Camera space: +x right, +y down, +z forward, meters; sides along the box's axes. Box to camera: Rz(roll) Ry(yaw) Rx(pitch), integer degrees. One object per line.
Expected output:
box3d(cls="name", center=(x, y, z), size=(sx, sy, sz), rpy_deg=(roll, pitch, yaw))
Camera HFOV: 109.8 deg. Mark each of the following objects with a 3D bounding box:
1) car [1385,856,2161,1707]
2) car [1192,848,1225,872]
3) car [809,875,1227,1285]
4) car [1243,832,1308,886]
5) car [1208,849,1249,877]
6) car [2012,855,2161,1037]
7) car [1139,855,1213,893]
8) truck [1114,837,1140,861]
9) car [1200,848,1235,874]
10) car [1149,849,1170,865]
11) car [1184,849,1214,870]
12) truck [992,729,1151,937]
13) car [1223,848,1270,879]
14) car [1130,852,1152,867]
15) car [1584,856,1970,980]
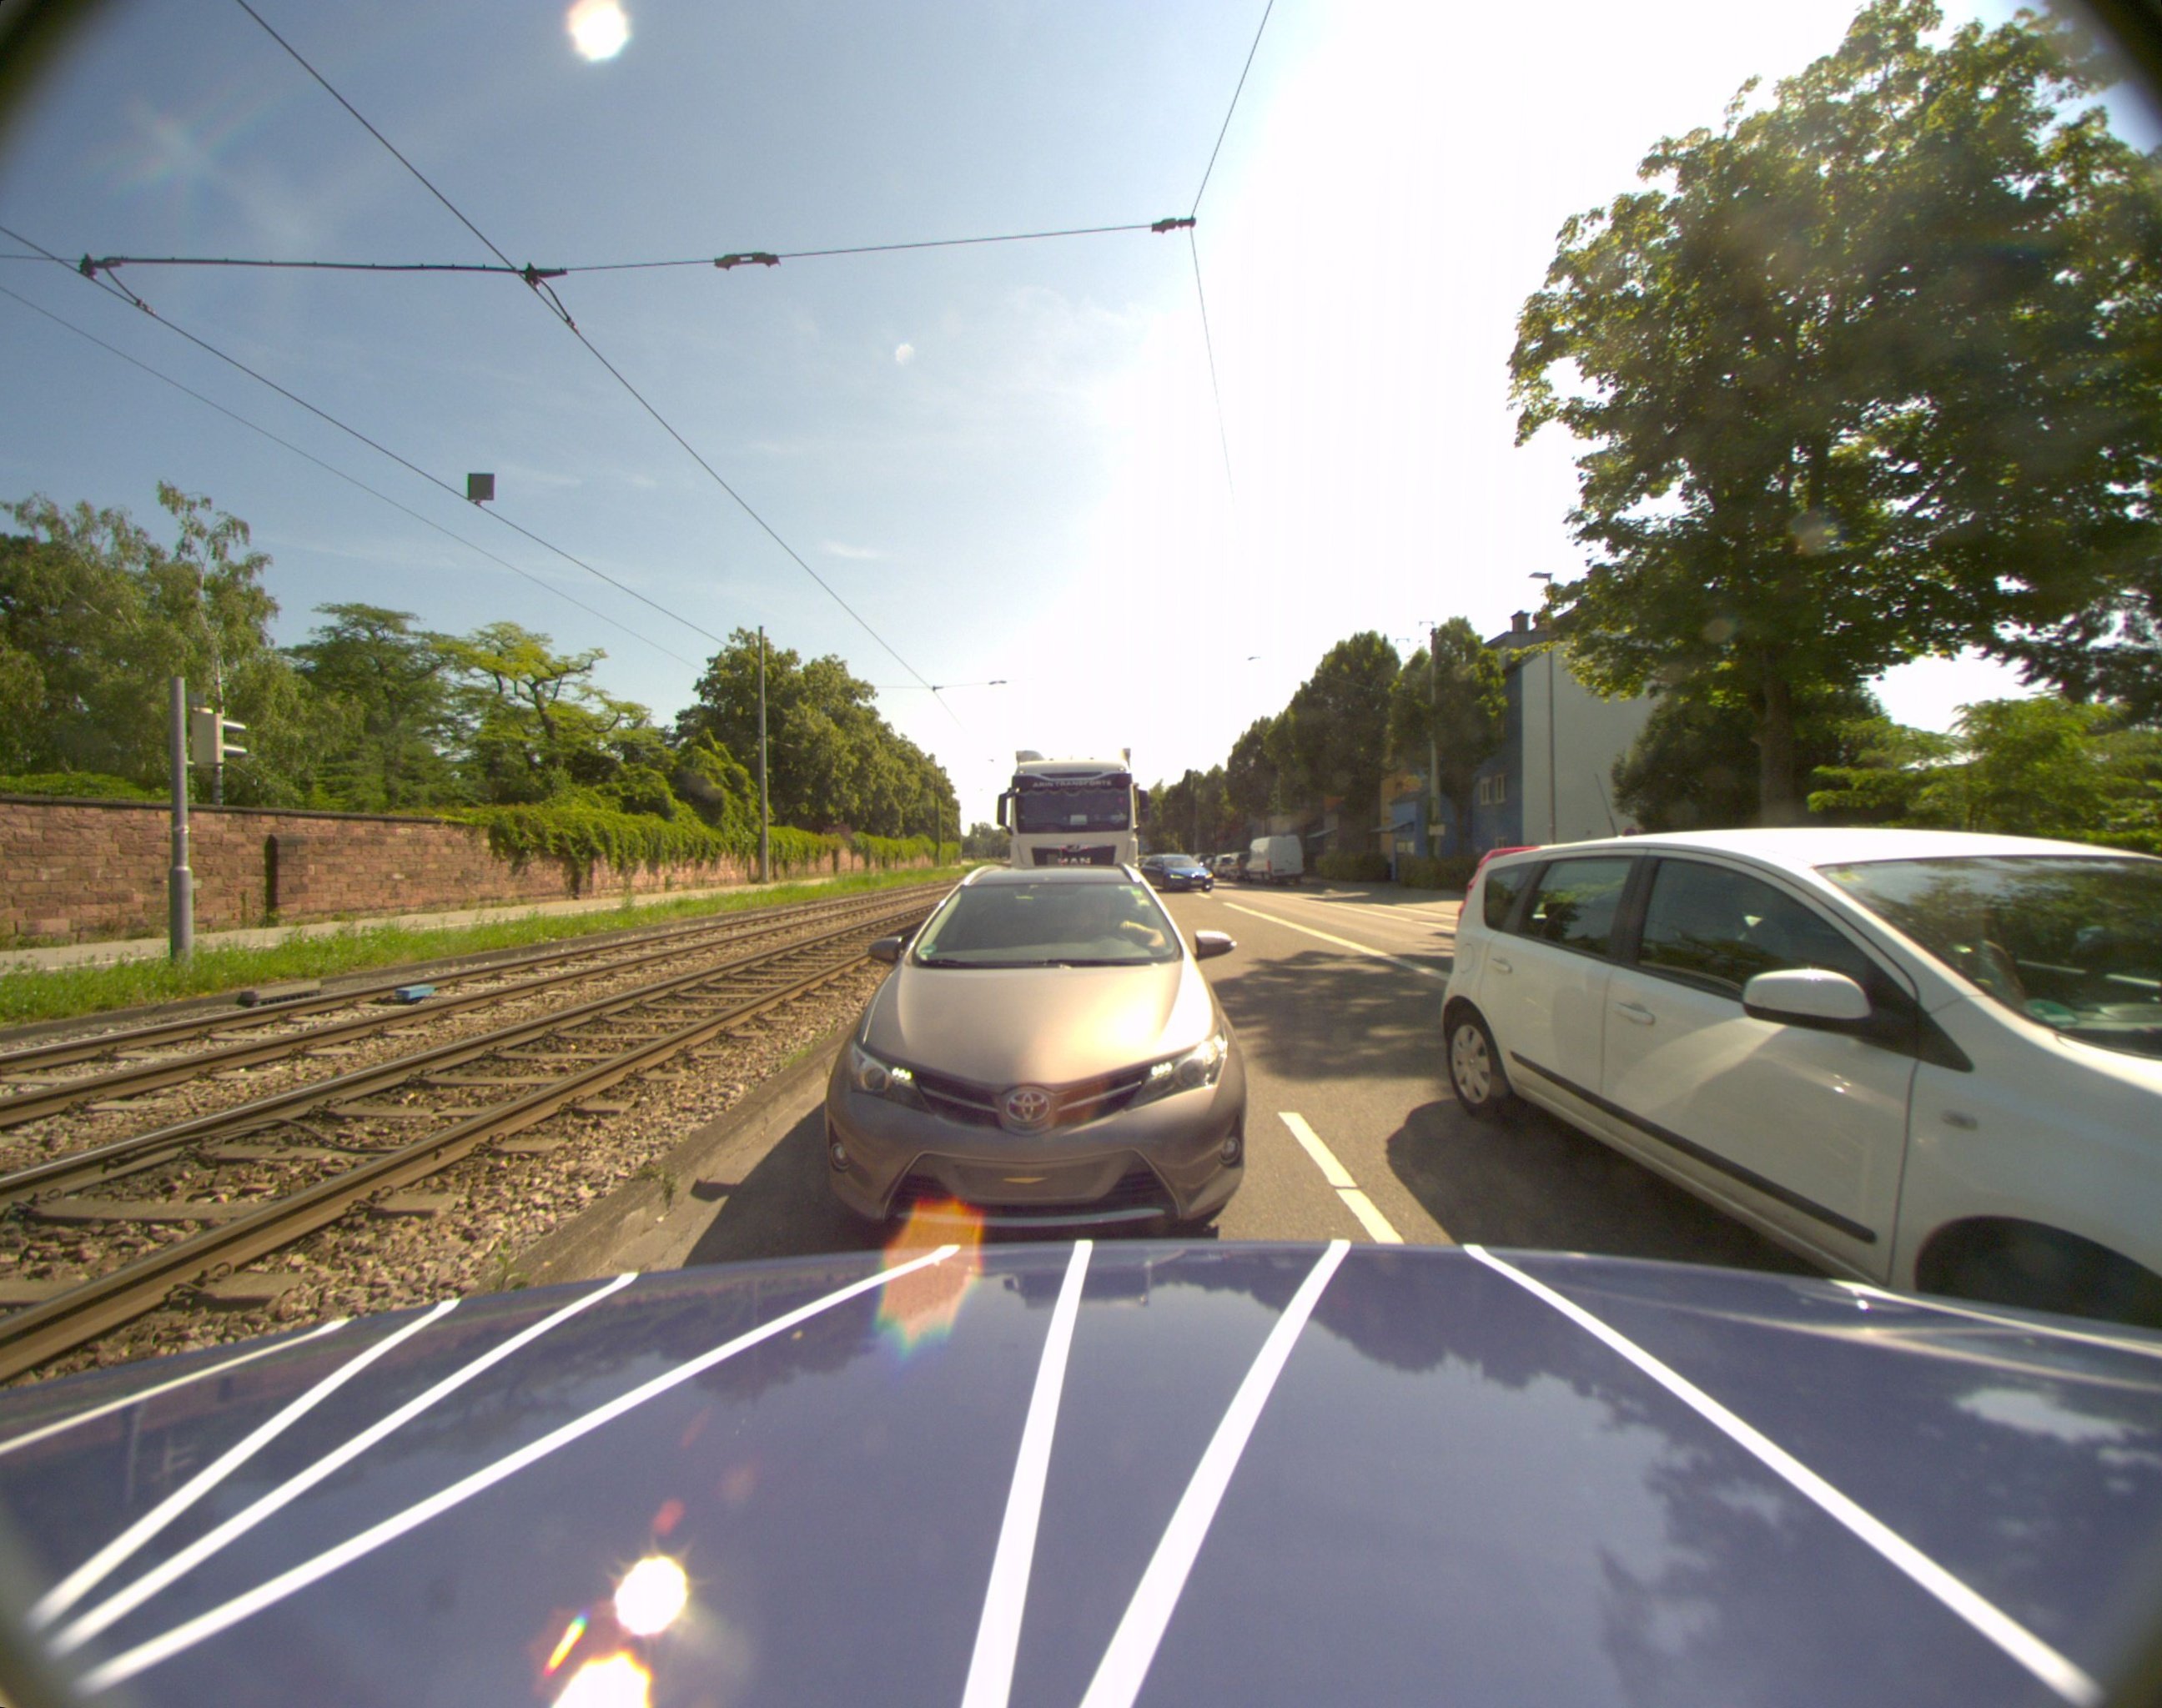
box3d(cls="car", center=(2.849, 0.805, 2.793), size=(1.666, 1.538, 4.546), rpy_deg=(-1, 0, 1))
box3d(cls="car", center=(11.294, 0.514, 67.670), size=(1.998, 1.795, 4.769), rpy_deg=(-6, 0, 0))
box3d(cls="car", center=(-0.212, 0.911, 4.869), size=(1.573, 1.422, 4.000), rpy_deg=(0, 0, 1))
box3d(cls="car", center=(10.912, 0.252, 43.146), size=(1.998, 2.678, 6.214), rpy_deg=(-6, 0, 2))
box3d(cls="car", center=(11.088, 0.629, 57.376), size=(1.998, 1.795, 4.769), rpy_deg=(-6, 0, 0))
box3d(cls="car", center=(10.586, 0.825, 5.566), size=(1.868, 1.562, 4.621), rpy_deg=(-2, 0, 0))
box3d(cls="car", center=(3.789, 0.749, 31.295), size=(1.890, 1.422, 5.072), rpy_deg=(0, 0, -7))
box3d(cls="truck", center=(6.979, -0.669, 116.102), size=(2.704, 3.263, 6.724), rpy_deg=(-6, 0, -5))
box3d(cls="car", center=(11.227, 0.565, 62.859), size=(1.998, 1.795, 4.256), rpy_deg=(-6, 0, 0))
box3d(cls="car", center=(10.075, 0.338, 97.411), size=(1.998, 1.795, 4.769), rpy_deg=(-6, 0, 0))
box3d(cls="car", center=(11.345, 0.525, 73.374), size=(1.998, 1.795, 4.769), rpy_deg=(-6, 0, 0))
box3d(cls="truck", center=(-0.078, -0.405, 21.569), size=(2.935, 3.856, 14.912), rpy_deg=(0, 0, 1))
box3d(cls="car", center=(11.141, 0.637, 51.417), size=(1.998, 1.795, 4.769), rpy_deg=(-6, 0, 0))
box3d(cls="car", center=(8.281, 0.801, 105.565), size=(1.999, 1.795, 5.111), rpy_deg=(-6, 0, -4))
box3d(cls="car", center=(10.562, 0.835, 12.156), size=(1.868, 1.562, 4.621), rpy_deg=(-1, 0, -2))
